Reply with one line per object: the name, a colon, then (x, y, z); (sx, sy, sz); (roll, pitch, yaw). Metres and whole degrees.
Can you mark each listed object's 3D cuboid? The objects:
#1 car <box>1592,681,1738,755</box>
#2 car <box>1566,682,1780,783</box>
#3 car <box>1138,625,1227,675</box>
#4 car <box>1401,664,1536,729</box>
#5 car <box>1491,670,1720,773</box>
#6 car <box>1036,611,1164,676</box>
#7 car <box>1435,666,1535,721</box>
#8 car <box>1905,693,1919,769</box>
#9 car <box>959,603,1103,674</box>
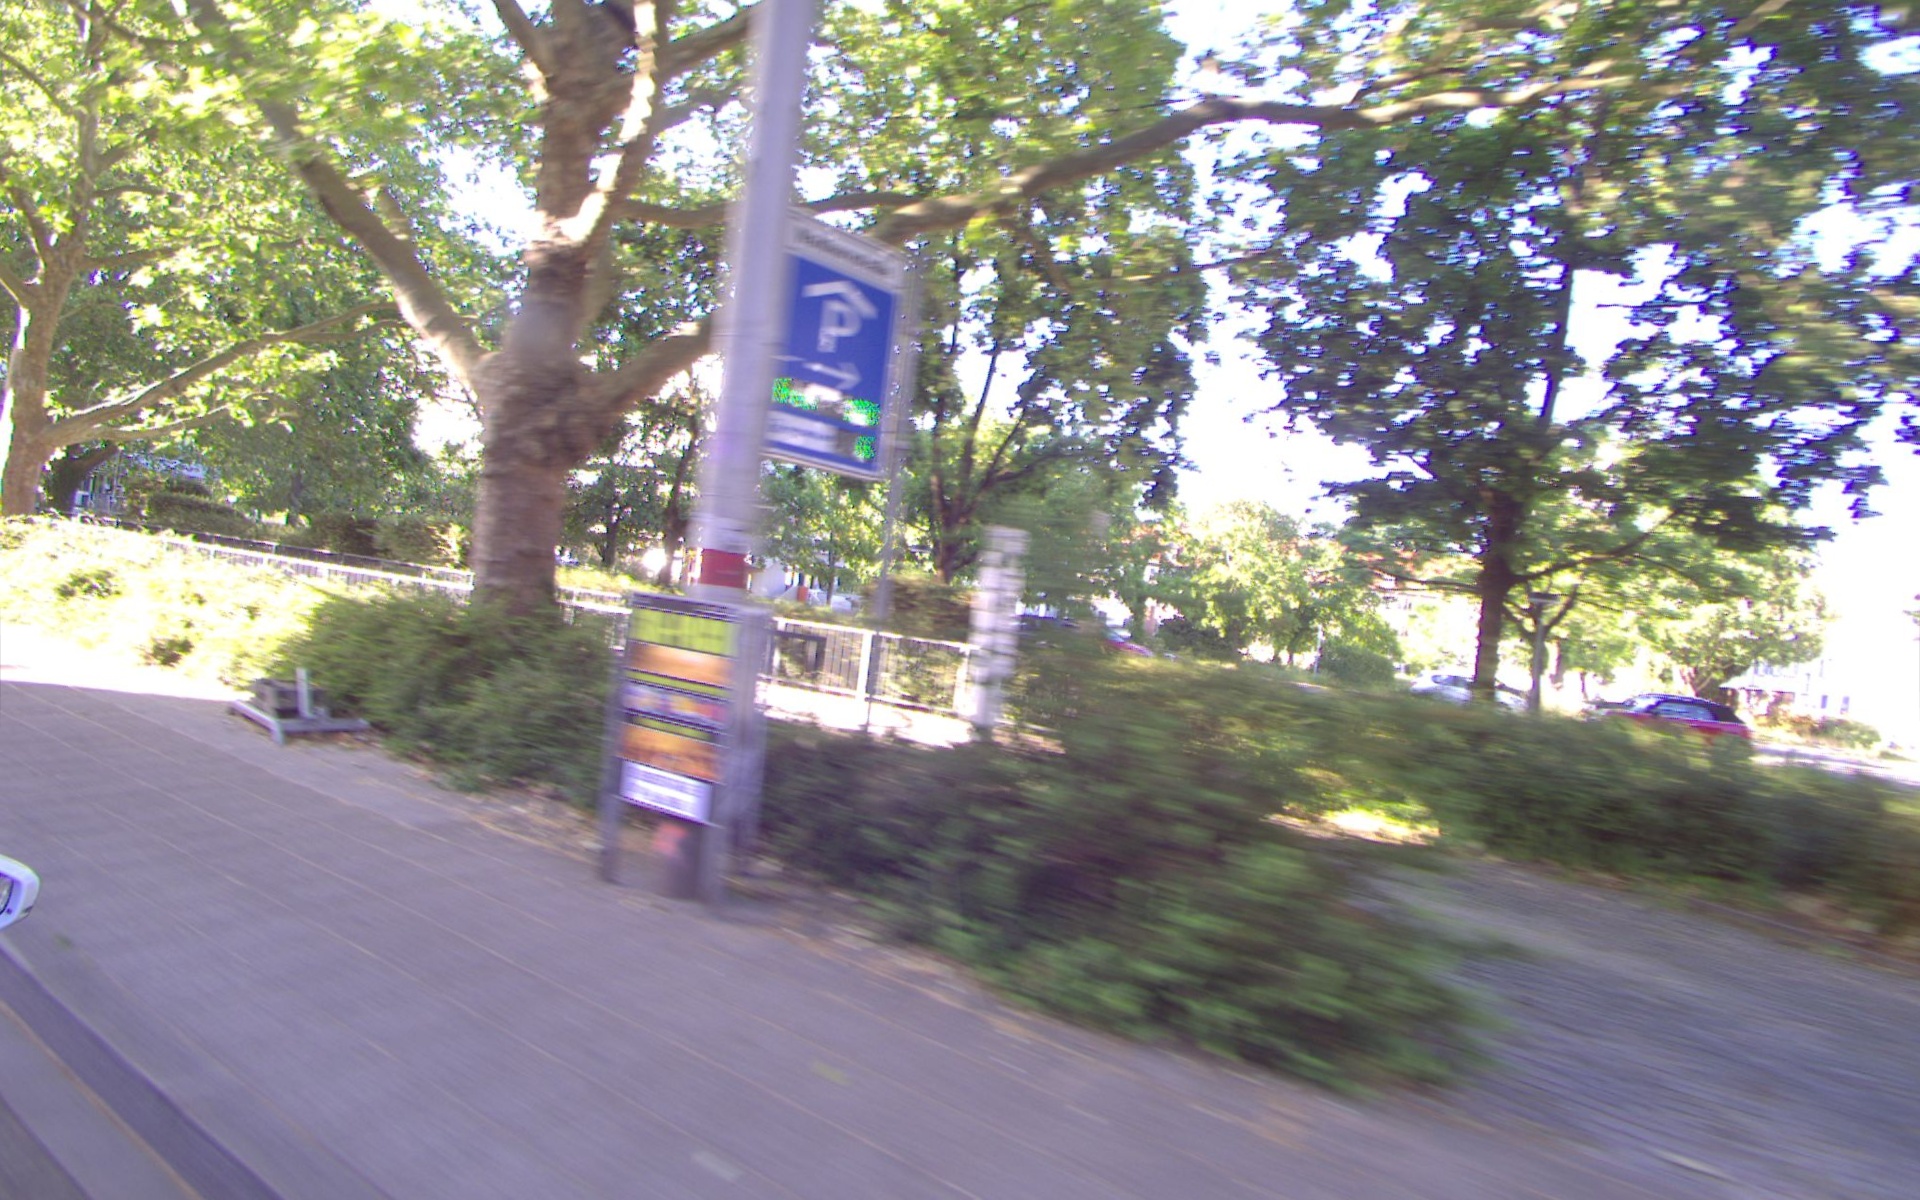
car: (26.909, 4.465, 38.570); (4.239, 2.114, 1.784); (7, 0, 31)
car: (18.431, 3.364, 26.273); (4.239, 1.834, 1.784); (7, 0, 31)
car: (11.497, 2.562, 52.065); (3.930, 2.039, 1.997); (7, 1, 27)
car: (17.990, 3.391, 35.621); (3.935, 1.645, 1.921); (7, -1, 33)
car: (15.040, 2.782, 23.693); (4.239, 1.621, 1.784); (7, 0, 31)
car: (4.825, 1.486, 34.787); (3.935, 1.645, 1.551); (7, -1, 33)
car: (25.323, 4.496, 48.556); (3.978, 1.969, 1.922); (7, -1, 31)
car: (35.181, 4.745, 33.331); (5.073, 2.604, 1.996); (7, 0, 31)
car: (2.176, 1.168, 30.998); (3.930, 1.646, 1.762); (7, 0, 28)
